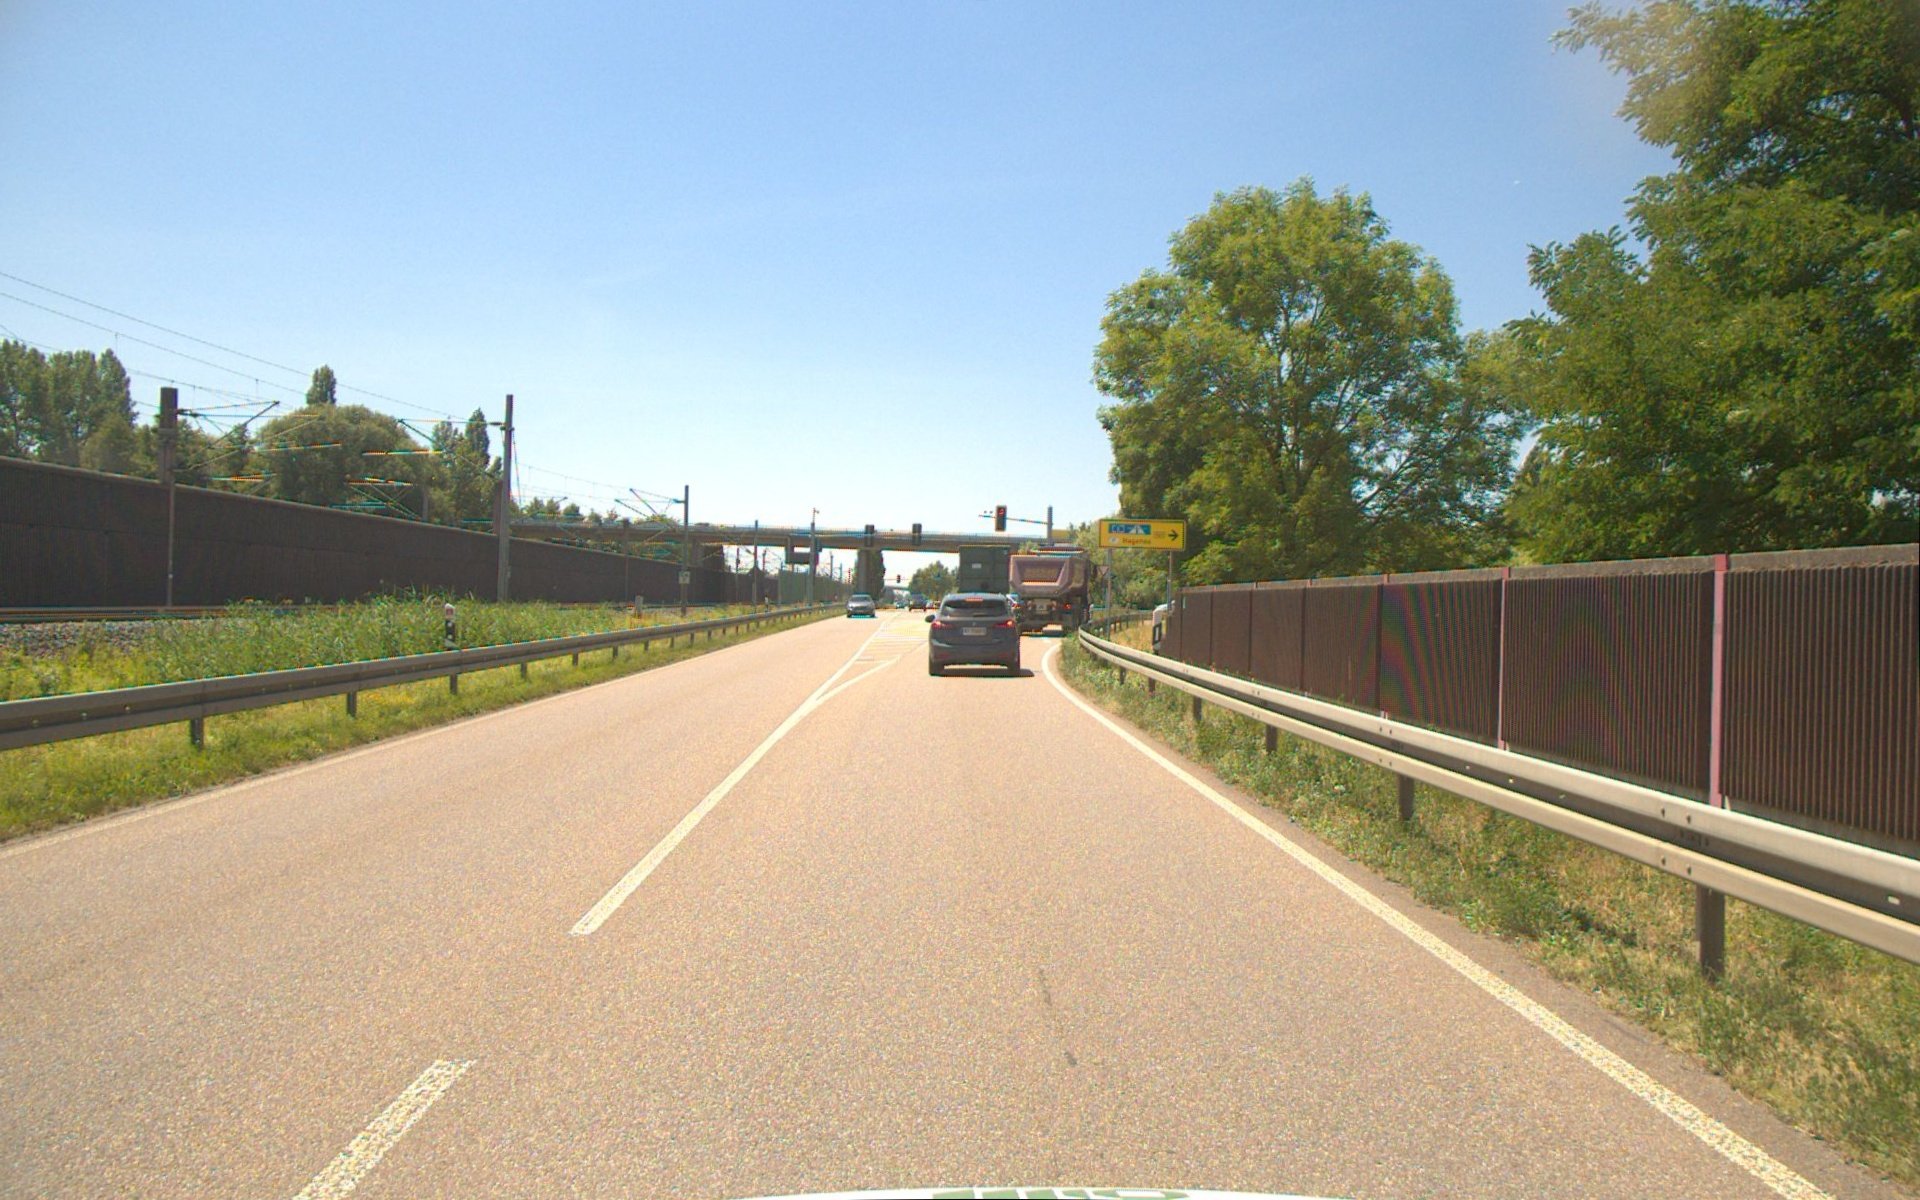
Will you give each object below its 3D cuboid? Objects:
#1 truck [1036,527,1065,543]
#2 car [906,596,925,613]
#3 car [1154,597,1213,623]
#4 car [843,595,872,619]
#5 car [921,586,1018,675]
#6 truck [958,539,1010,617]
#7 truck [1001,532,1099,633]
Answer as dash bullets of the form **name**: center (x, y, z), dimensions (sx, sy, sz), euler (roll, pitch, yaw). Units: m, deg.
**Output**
- **truck**: center (12.237, -8.830, 223.646), dimensions (3.903, 2.049, 2.001), euler (0, 0, 4)
- **car**: center (-4.890, 0.452, 181.355), dimensions (1.887, 1.798, 4.598), euler (1, 1, 1)
- **car**: center (14.583, 0.674, 108.017), dimensions (3.631, 1.660, 1.734), euler (0, 0, -1)
- **car**: center (-6.723, 0.430, 108.591), dimensions (1.827, 1.511, 4.885), euler (0, 0, -3)
- **car**: center (0.199, 0.578, 33.175), dimensions (1.807, 1.651, 4.226), euler (0, 0, 0)
- **truck**: center (1.184, -1.112, 85.596), dimensions (2.536, 3.803, 9.575), euler (0, 0, 0)
- **truck**: center (3.943, -0.666, 69.454), dimensions (2.773, 3.888, 11.895), euler (0, 0, 9)
